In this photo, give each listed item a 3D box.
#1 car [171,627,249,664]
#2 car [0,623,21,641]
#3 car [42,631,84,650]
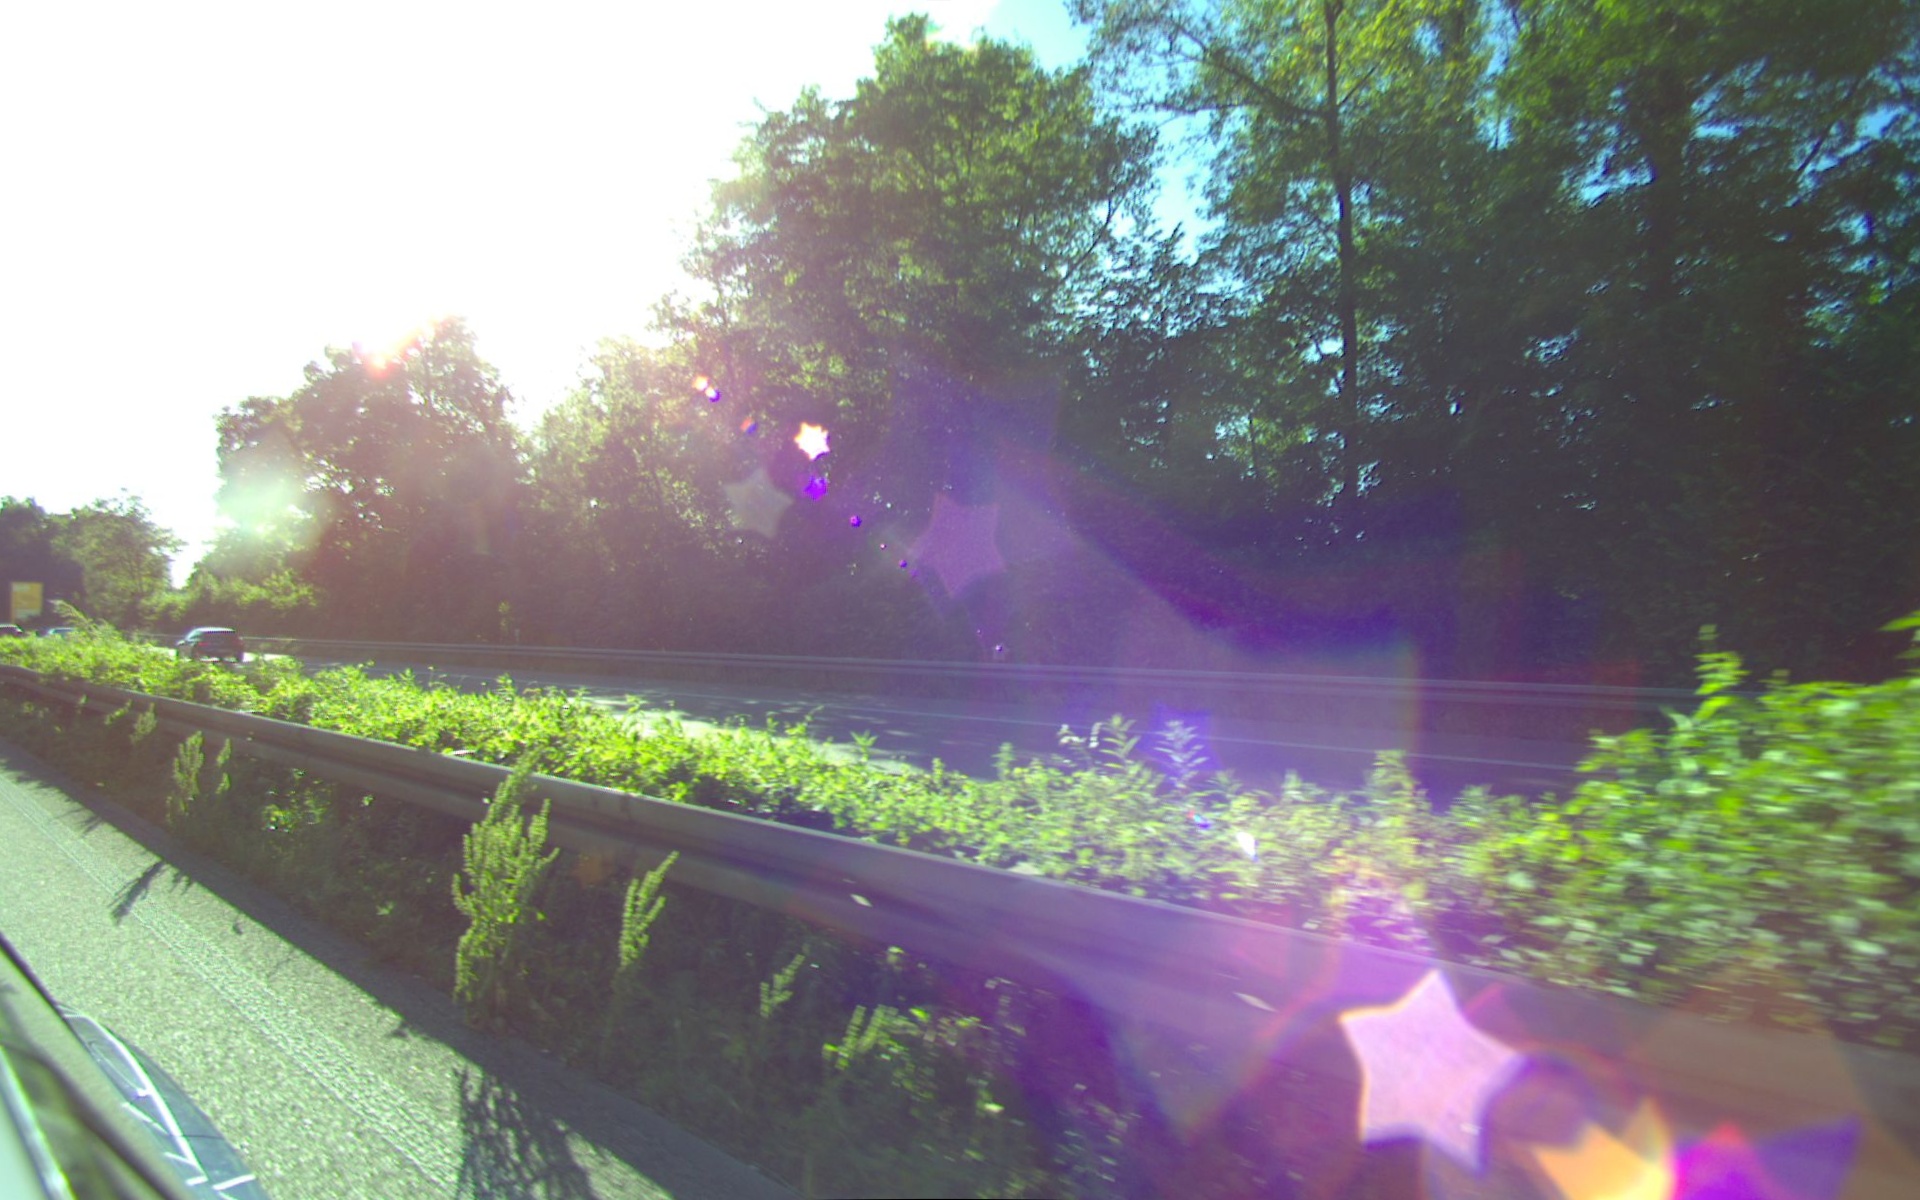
[{"bbox_3d":[-31.765,1.904,42.829,4.553,1.419,1.715,-2,-1,41],"label":"car"},{"bbox_3d":[-83.189,2.805,88.048,4.134,1.436,1.730,-1,0,41],"label":"car"},{"bbox_3d":[-61.505,2.750,69.348,4.260,1.232,1.628,-1,-1,41],"label":"car"}]
